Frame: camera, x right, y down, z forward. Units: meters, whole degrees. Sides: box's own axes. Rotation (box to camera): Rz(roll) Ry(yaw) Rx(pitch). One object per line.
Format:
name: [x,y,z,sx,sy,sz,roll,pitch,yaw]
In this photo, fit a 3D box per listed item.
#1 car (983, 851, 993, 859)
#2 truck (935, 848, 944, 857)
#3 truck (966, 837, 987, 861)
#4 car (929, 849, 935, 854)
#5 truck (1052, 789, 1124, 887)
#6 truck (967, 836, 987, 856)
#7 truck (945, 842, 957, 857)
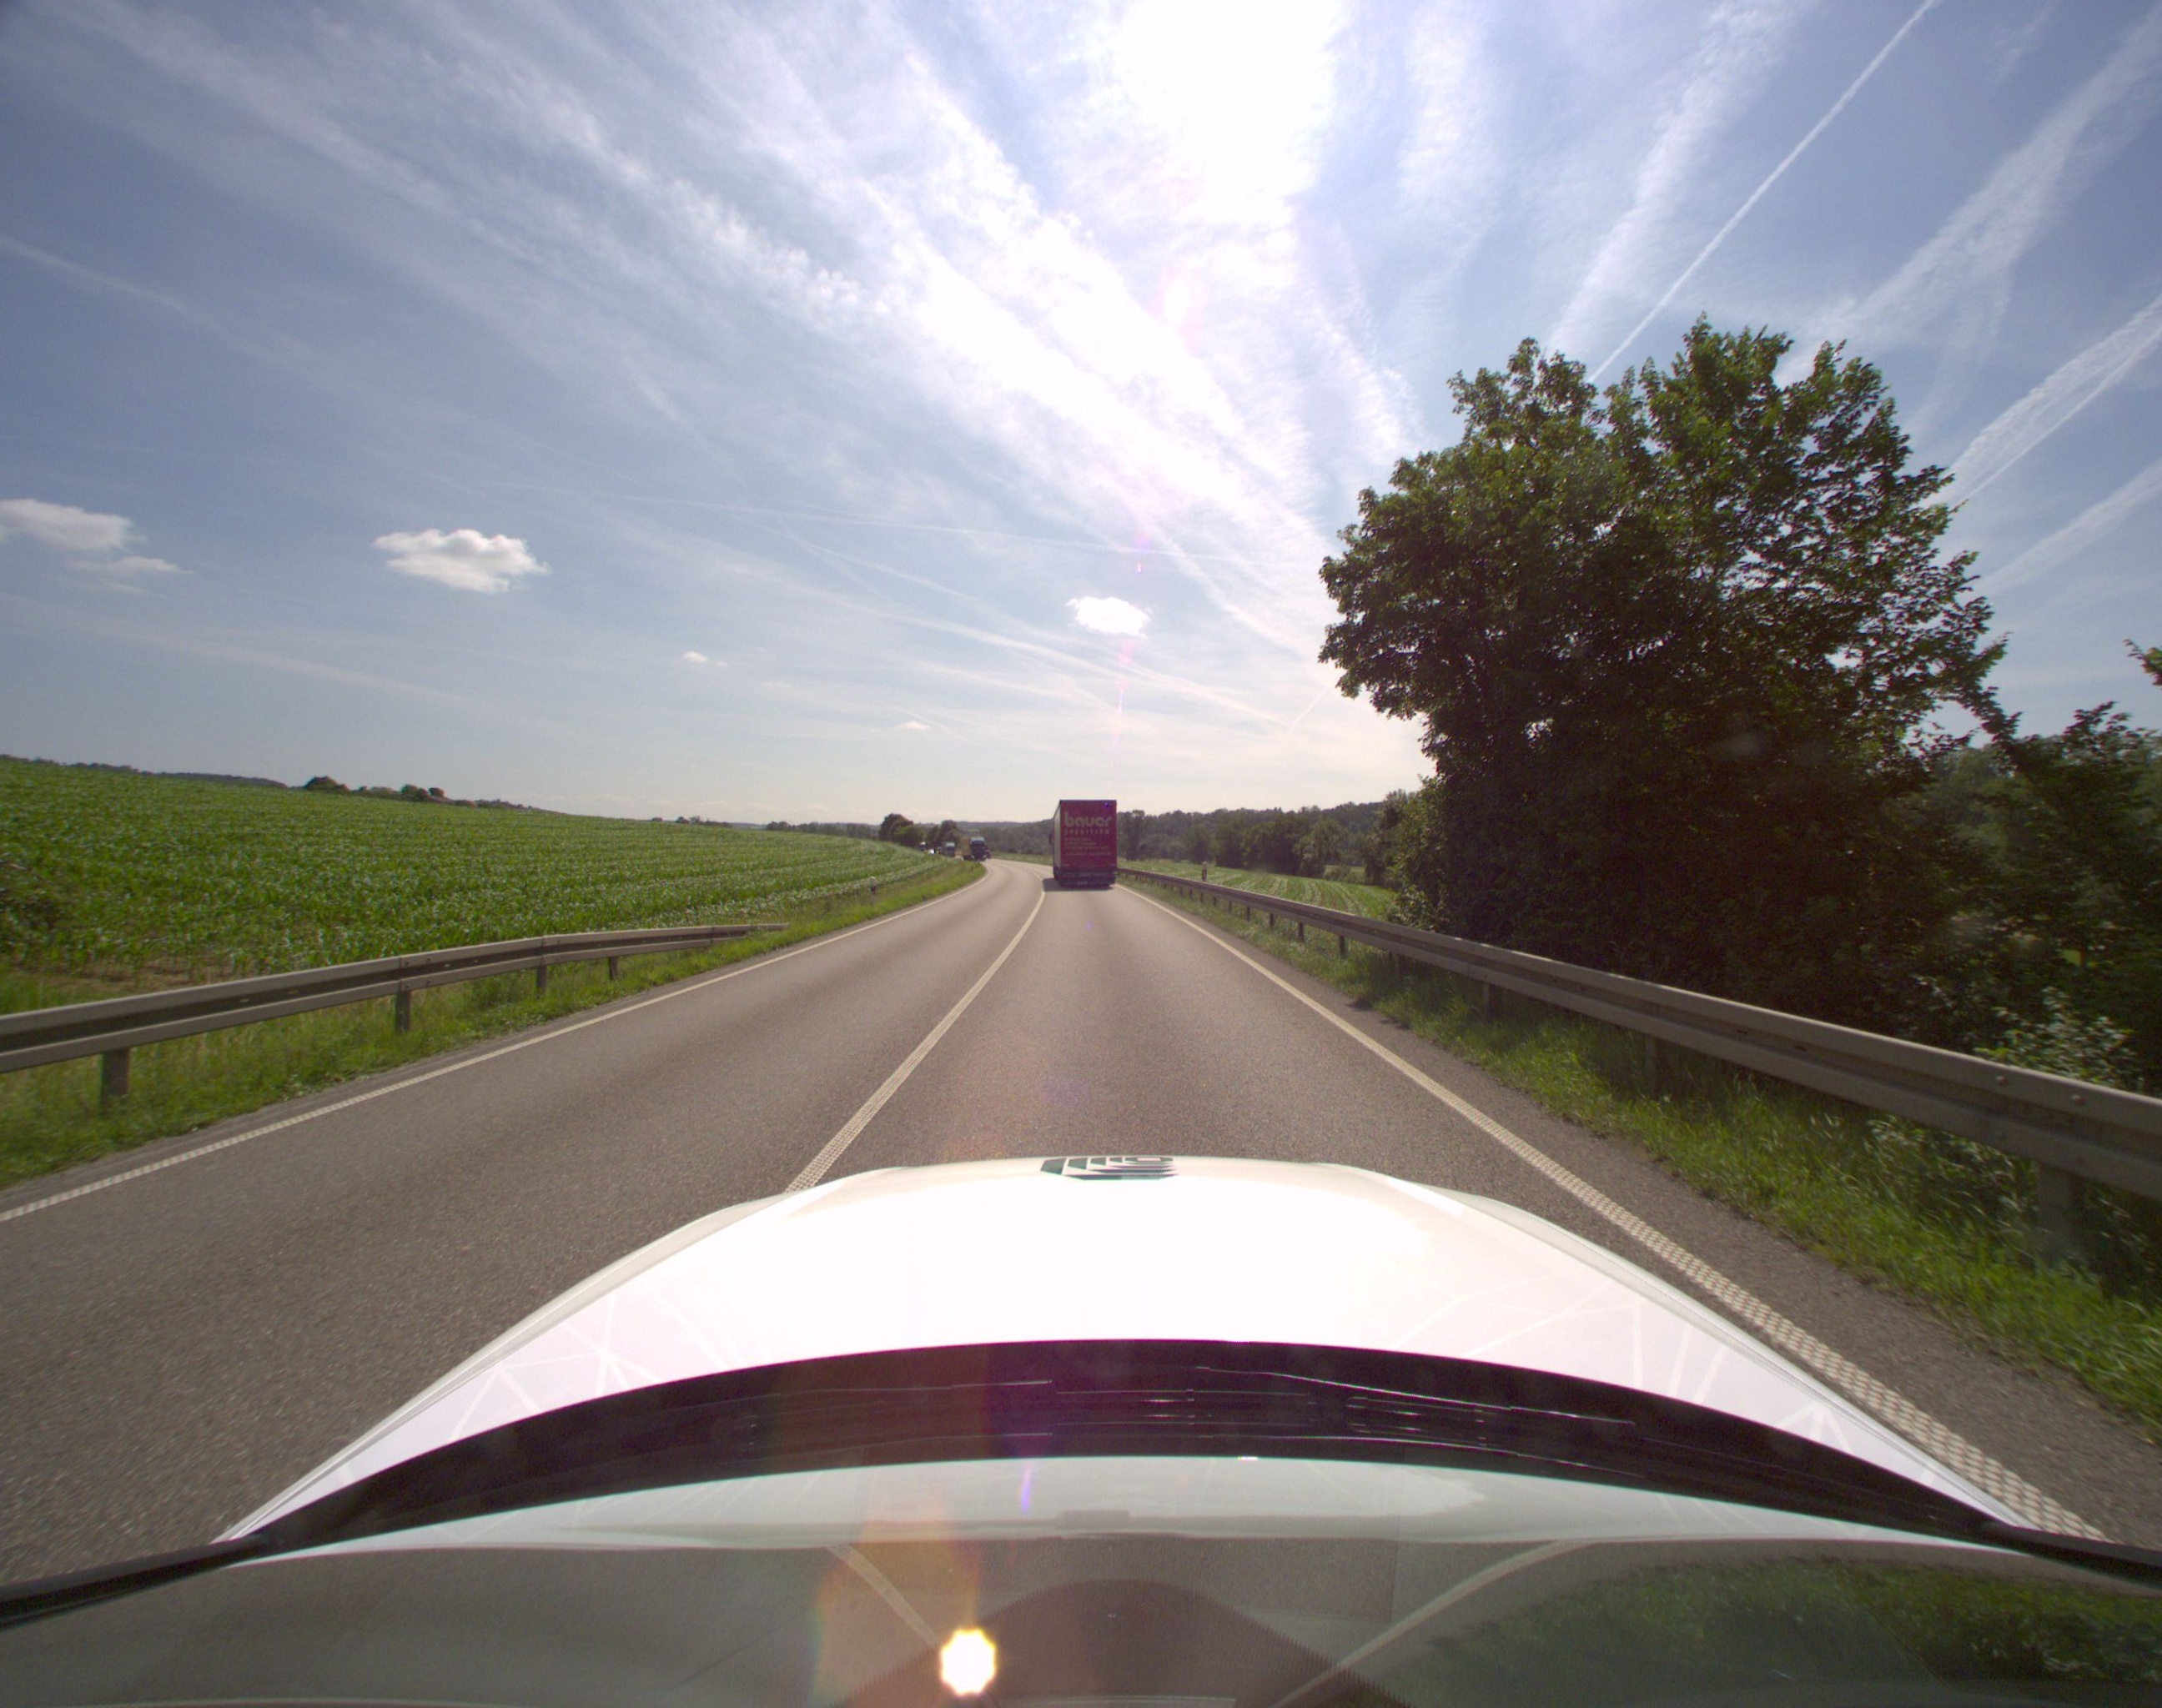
car: [-18.405,0.205,160.414,1.582,1.501,3.861,1,0,-12]
truck: [-38.153,-0.368,220.022,2.013,2.320,5.167,0,0,-14]
truck: [-18.619,-0.924,143.767,2.771,3.998,16.967,0,0,-10]
car: [-46.884,-0.834,255.827,1.730,1.440,4.158,-1,1,-13]
truck: [0.166,-0.707,39.725,3.087,4.262,8.307,-1,0,-2]
truck: [-23.236,-1.721,180.761,3.642,4.292,11.939,-1,0,-11]
truck: [-31.097,-1.064,194.354,2.742,3.578,9.692,0,0,-10]
